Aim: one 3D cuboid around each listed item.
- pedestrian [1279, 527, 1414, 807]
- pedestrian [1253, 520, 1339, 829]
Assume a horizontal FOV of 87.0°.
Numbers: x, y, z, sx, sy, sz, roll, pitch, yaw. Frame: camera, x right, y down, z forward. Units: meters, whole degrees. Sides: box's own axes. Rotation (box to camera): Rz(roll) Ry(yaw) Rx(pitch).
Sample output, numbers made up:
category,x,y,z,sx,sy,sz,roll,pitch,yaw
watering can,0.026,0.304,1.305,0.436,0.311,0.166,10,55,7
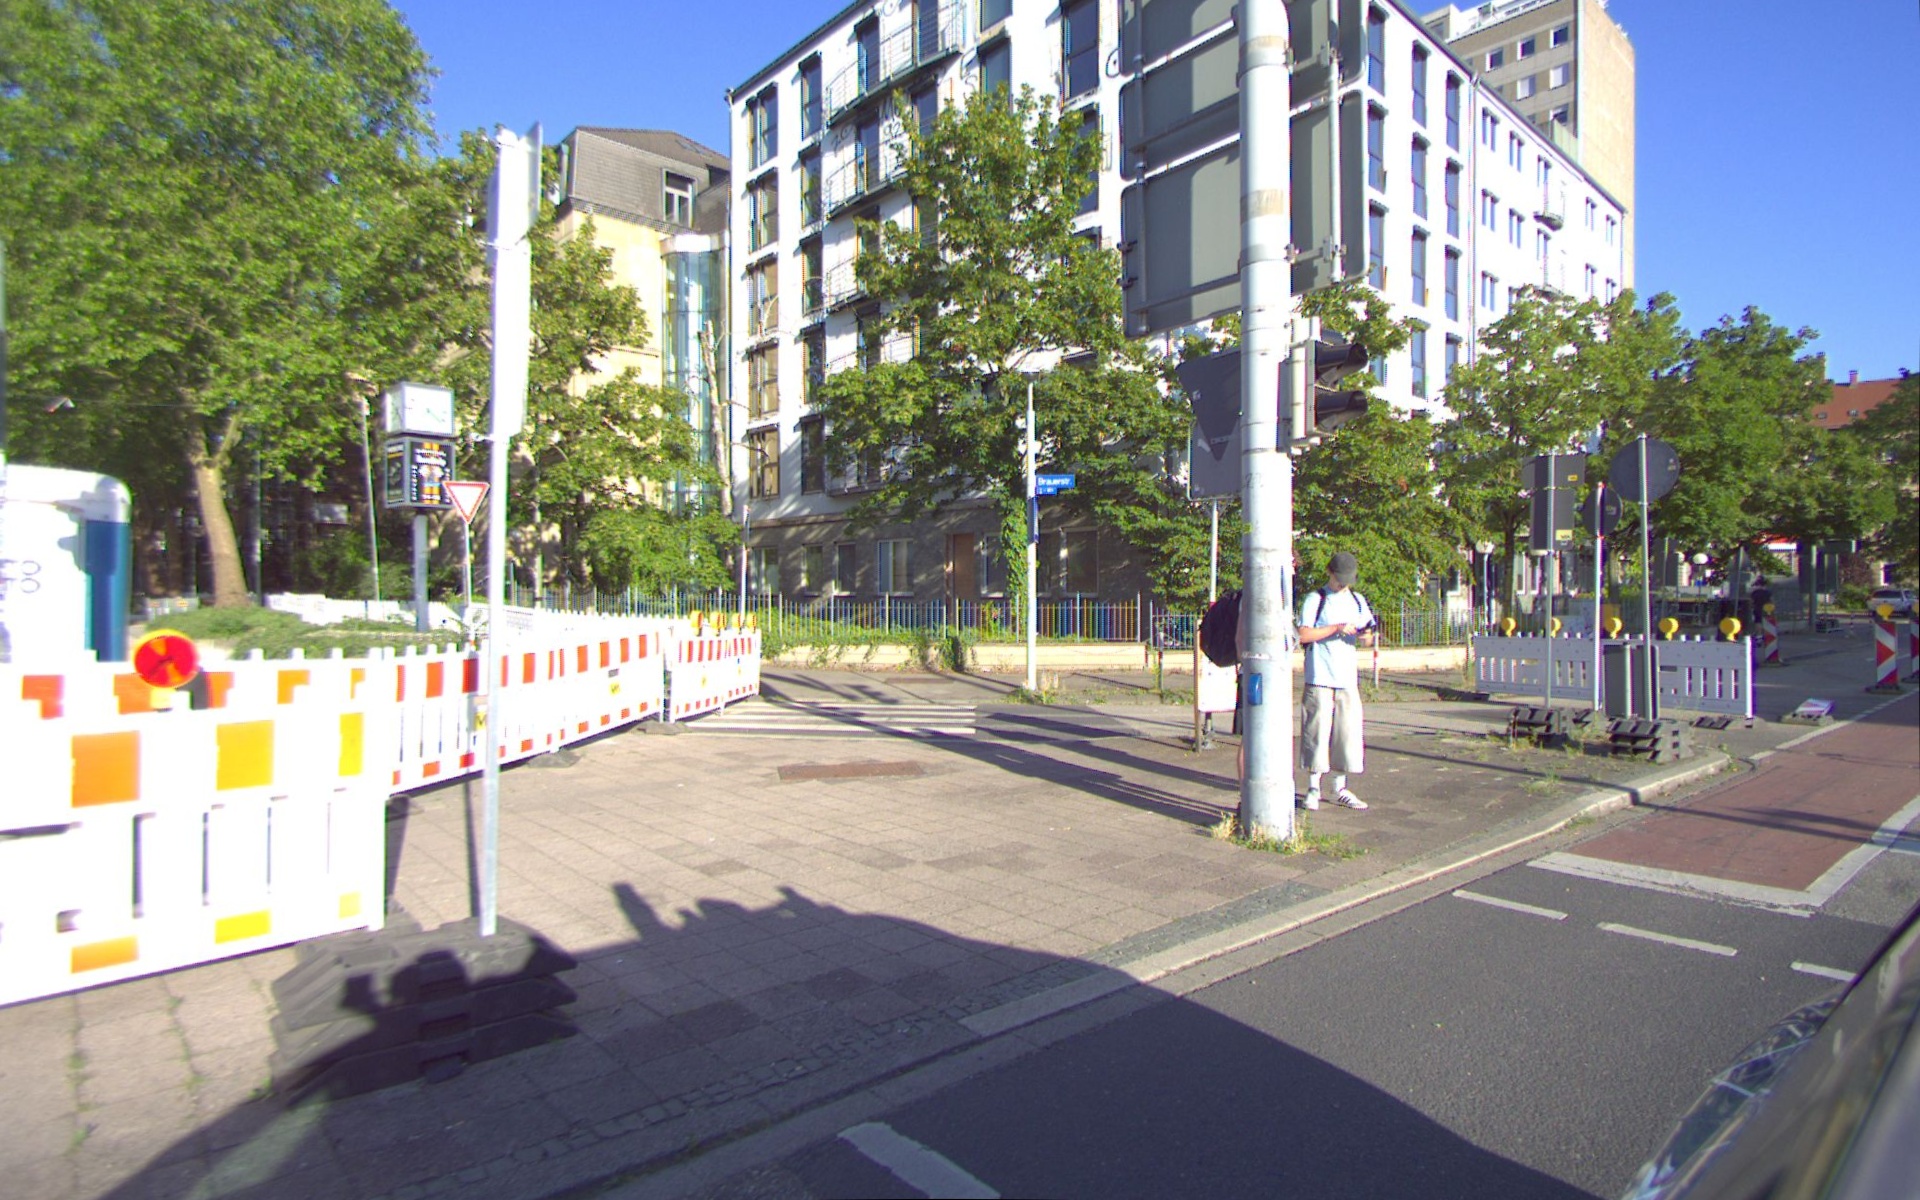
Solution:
category,x,y,z,sx,sy,sz,roll,pitch,yaw
pedestrian,2.728,0.448,7.191,0.695,1.901,0.578,0,0,-5
pedestrian,2.199,0.456,6.597,0.493,1.901,0.598,0,0,22
